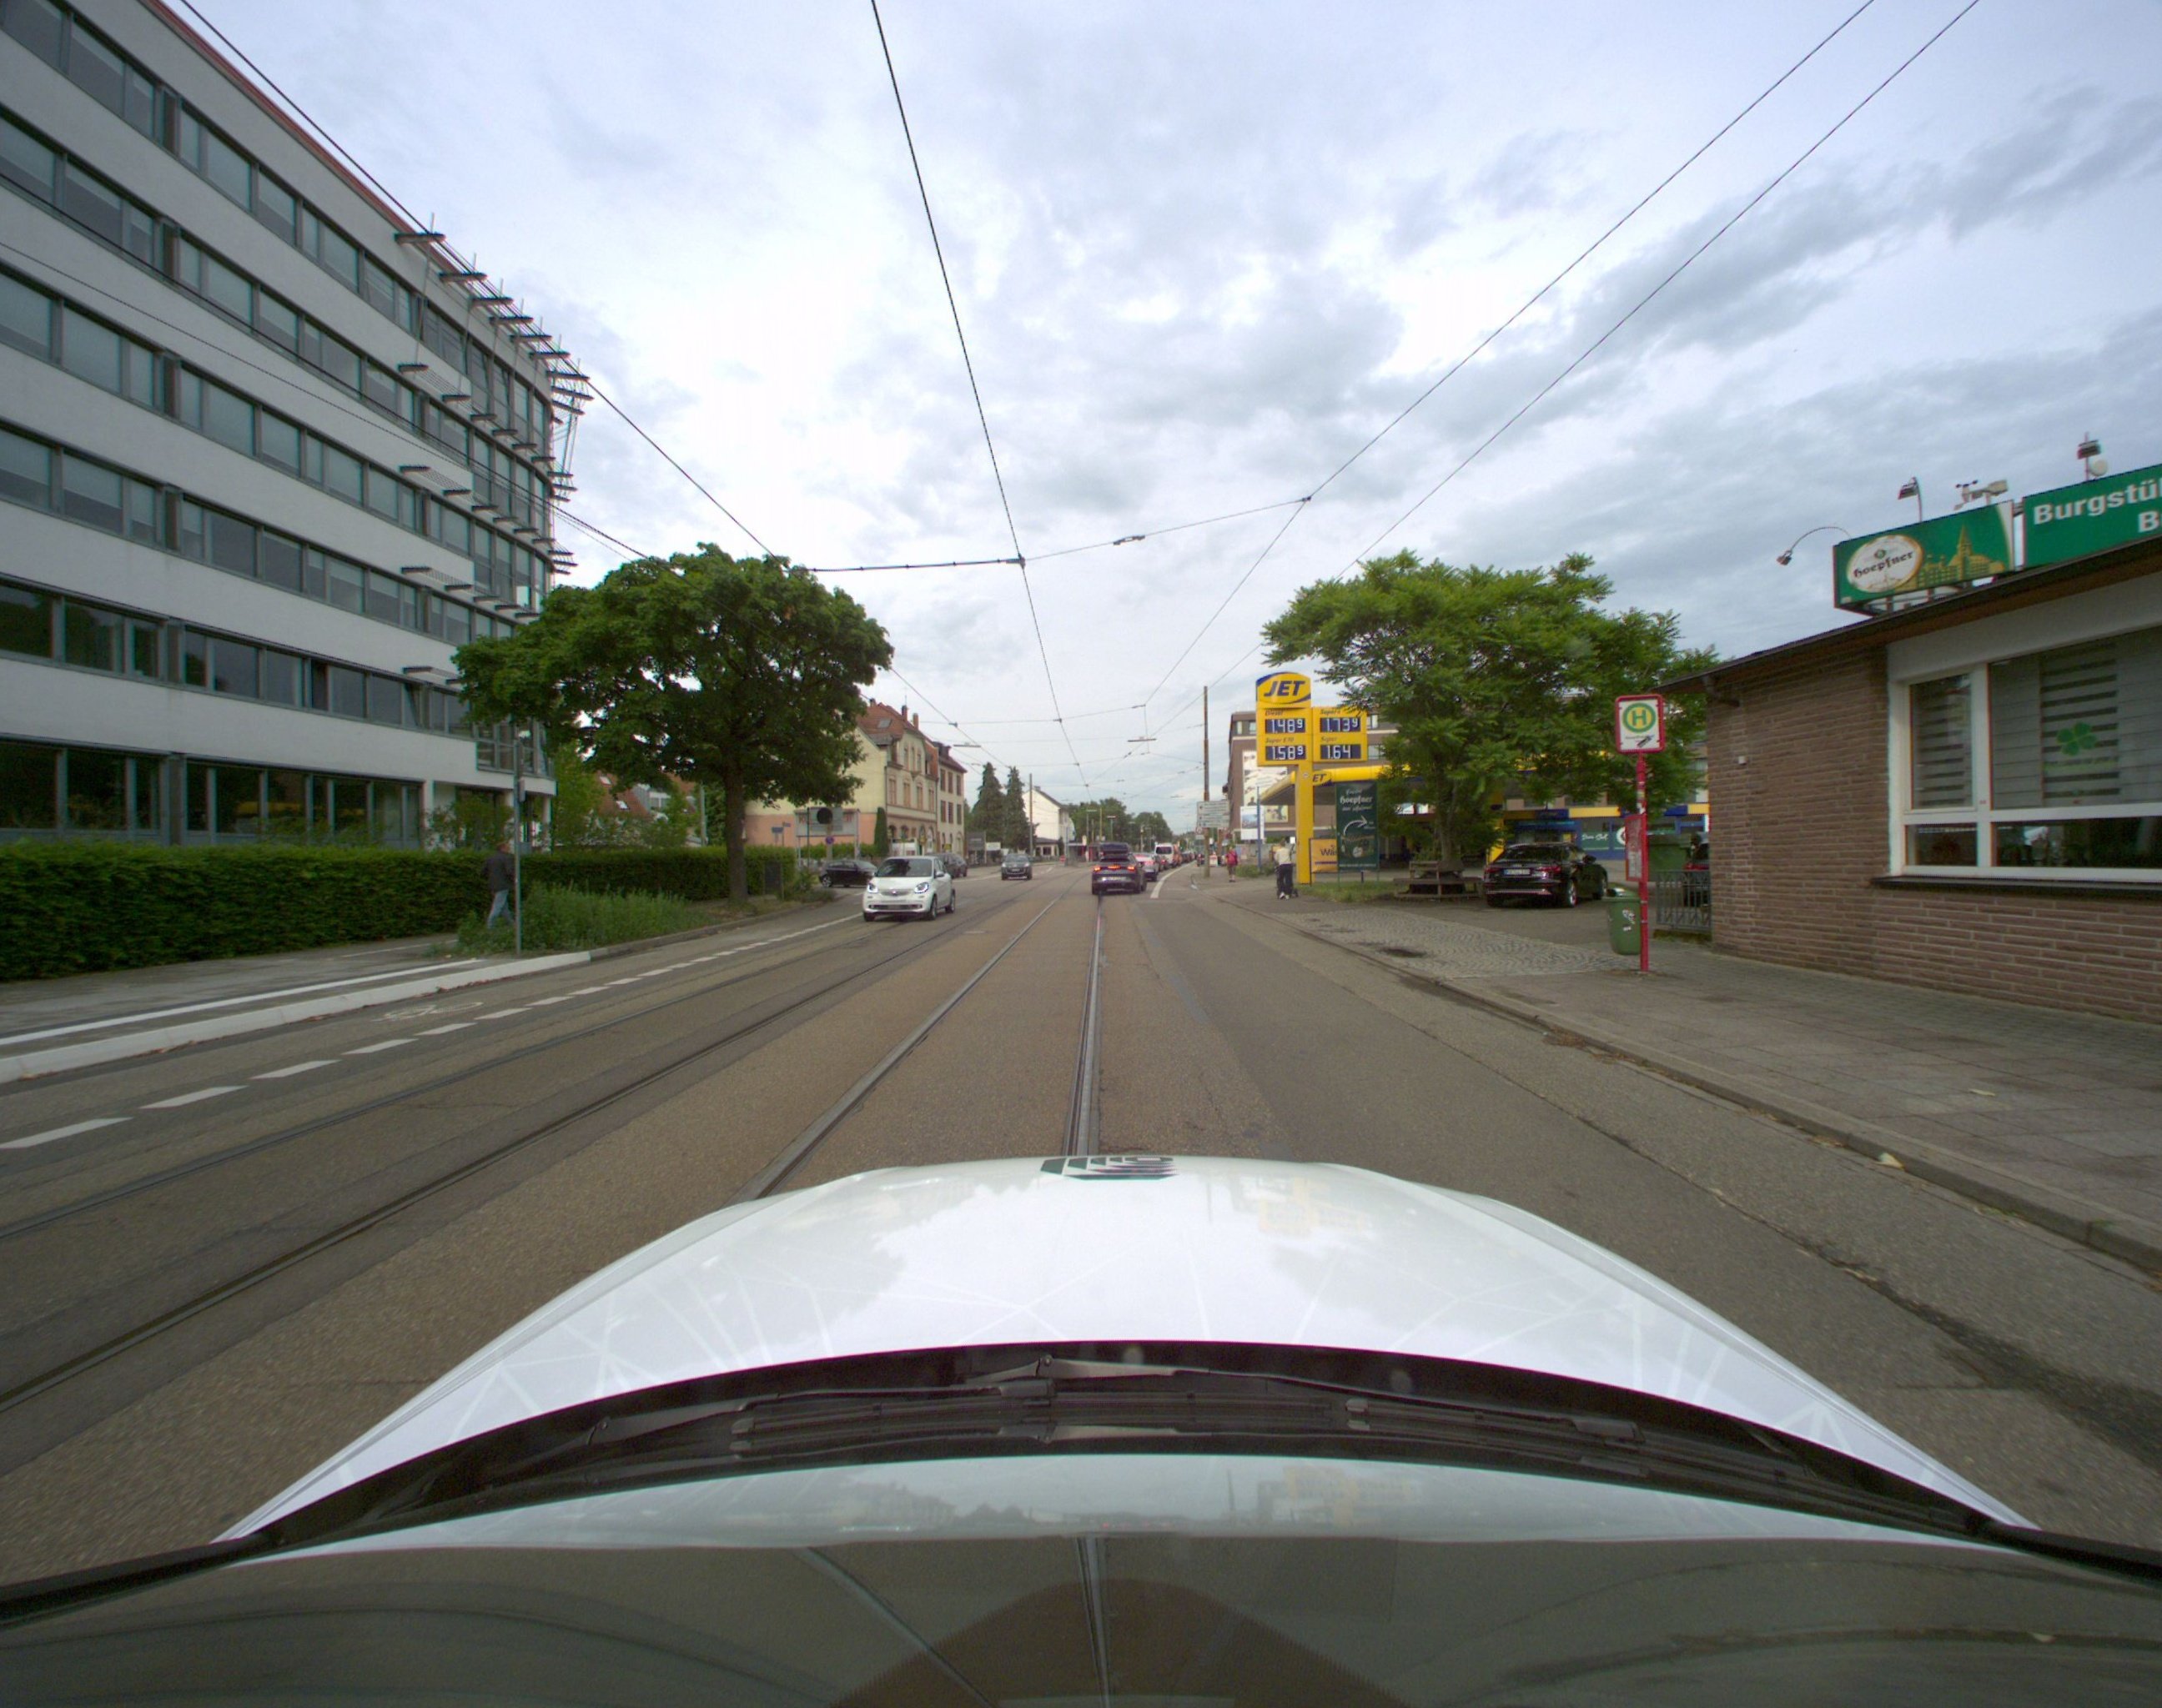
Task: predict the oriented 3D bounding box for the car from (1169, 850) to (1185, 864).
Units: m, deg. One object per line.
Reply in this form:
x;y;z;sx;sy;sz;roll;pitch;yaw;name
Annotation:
13.909;0.459;118.071;1.986;2.014;4.001;1;-1;2;car

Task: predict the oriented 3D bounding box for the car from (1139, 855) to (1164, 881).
5.723;1.156;66.300;1.985;2.014;4.004;1;-1;4;car

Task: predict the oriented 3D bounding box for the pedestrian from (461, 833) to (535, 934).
-12.034;0.602;16.843;0.706;2.014;0.993;0;-1;8;pedestrian

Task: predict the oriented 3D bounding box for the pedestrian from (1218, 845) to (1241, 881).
7.418;0.475;40.767;0.967;1.738;0.862;-3;-1;4;pedestrian

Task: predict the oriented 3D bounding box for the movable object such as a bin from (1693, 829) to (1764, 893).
15.964;0.135;20.078;1.278;1.490;1.131;1;3;42;movable object such as a bin

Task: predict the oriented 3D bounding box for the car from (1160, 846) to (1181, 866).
9.788;0.280;89.503;2.129;2.146;4.750;1;-1;5;car

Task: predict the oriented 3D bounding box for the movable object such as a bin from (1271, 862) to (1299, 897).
6.400;0.791;25.575;0.762;1.039;1.028;-3;-1;16;movable object such as a bin

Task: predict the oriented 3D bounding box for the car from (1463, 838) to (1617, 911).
10.750;0.405;18.913;4.611;1.407;1.911;-2;1;-45;car

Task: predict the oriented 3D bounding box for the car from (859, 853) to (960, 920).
-4.191;0.762;20.424;1.698;1.530;3.742;0;-1;1;car

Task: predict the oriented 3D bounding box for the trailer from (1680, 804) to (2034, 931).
10.235;0.181;10.942;3.149;1.539;1.622;-1;-1;2;trailer

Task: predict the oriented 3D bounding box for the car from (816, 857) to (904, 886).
-11.024;0.862;40.666;3.885;1.388;1.812;-1;0;22;car

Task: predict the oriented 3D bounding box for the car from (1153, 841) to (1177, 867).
8.245;0.051;80.152;2.206;2.423;4.956;1;-1;4;car

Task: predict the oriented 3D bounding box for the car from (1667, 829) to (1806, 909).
14.154;0.270;17.471;1.854;1.427;4.569;-5;-1;44;car

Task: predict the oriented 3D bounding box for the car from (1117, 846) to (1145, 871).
3.624;0.357;58.898;1.960;1.756;3.841;1;-1;3;car

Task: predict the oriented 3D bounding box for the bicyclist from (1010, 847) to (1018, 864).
-7.073;0.147;86.385;0.735;1.749;0.976;-2;0;-9;bicyclist

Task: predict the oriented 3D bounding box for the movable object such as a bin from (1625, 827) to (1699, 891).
14.985;0.115;21.016;1.404;1.514;1.131;0;4;43;movable object such as a bin

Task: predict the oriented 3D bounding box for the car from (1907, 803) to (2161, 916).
16.454;0.081;12.937;4.401;1.646;1.994;-1;-1;7;car

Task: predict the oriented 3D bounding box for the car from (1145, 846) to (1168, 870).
6.713;0.380;72.409;1.984;2.014;4.006;1;-1;5;car

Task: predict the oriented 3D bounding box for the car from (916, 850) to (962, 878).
-9.897;0.699;57.172;1.982;1.887;5.004;1;-1;5;car

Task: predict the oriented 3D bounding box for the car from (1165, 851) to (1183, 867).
12.079;0.712;105.930;1.986;2.014;4.001;1;-1;2;car

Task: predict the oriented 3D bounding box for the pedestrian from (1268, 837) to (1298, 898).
6.165;0.404;24.832;0.762;1.797;1.167;-3;-1;16;pedestrian

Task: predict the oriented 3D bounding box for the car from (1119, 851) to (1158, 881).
3.093;0.637;44.659;1.974;1.550;4.185;1;0;2;car

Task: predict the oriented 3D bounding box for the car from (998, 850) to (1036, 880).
-3.949;0.689;50.860;1.820;1.737;4.337;-1;-1;2;car

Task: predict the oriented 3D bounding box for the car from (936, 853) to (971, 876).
-9.905;0.851;63.562;1.836;1.718;4.197;1;-1;4;car

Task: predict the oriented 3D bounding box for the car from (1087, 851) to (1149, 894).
1.509;0.693;31.564;1.979;1.497;4.336;1;-1;8;car

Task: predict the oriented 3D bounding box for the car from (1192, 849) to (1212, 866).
13.067;0.420;88.076;1.866;1.823;4.101;1;-1;5;car
